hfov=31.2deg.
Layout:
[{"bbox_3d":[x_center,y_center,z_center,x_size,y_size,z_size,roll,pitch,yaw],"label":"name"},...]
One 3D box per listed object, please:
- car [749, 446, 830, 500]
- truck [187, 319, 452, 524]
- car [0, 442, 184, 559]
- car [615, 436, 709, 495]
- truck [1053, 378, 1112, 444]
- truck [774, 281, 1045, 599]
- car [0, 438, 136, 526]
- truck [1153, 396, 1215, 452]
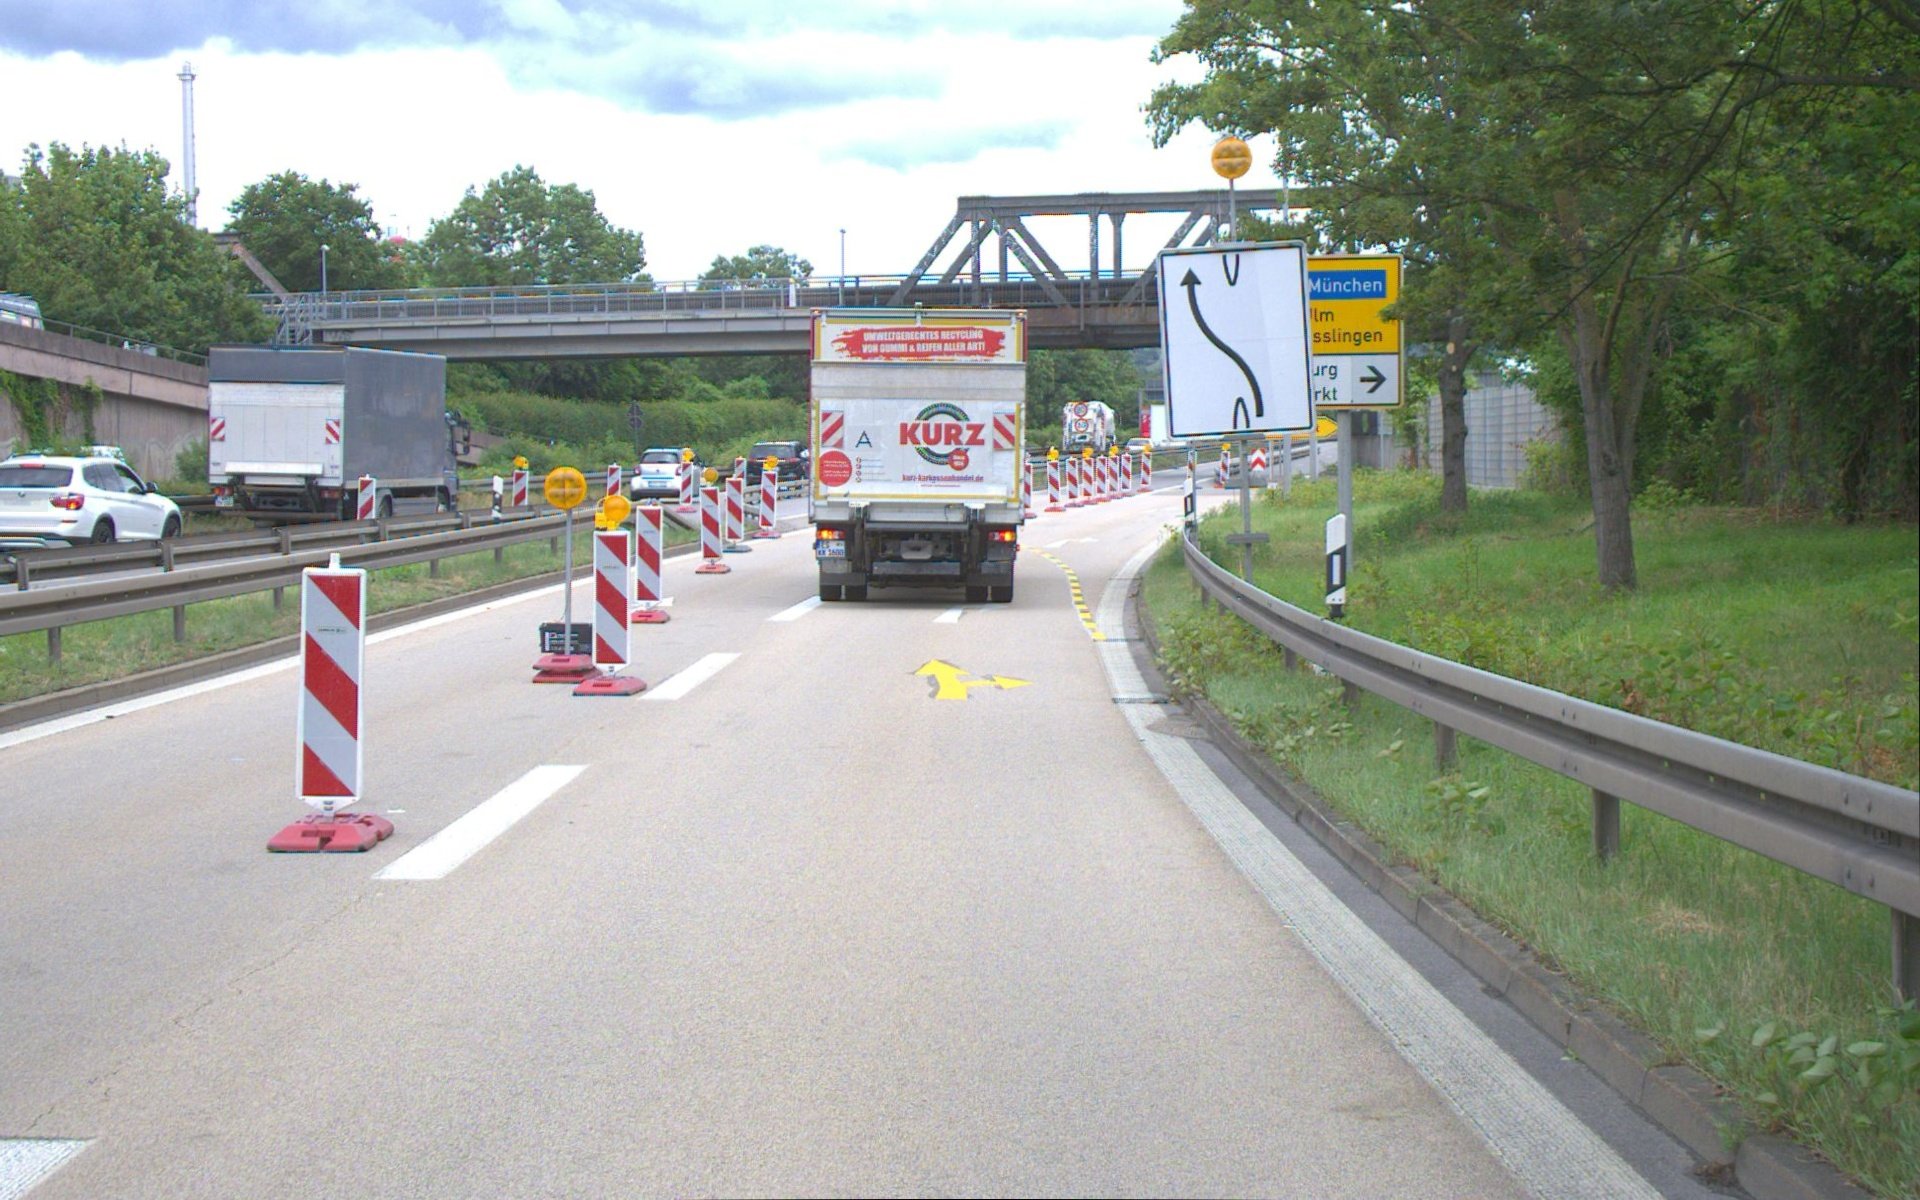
[{"bbox_3d":[-5.167,-3.878,104.848,1.994,1.612,4.000,0,2,4],"label":"car"},{"bbox_3d":[-11.964,-3.313,64.967,3.051,3.643,7.395,0,2,5],"label":"truck"},{"bbox_3d":[-13.528,-1.532,52.283,1.994,1.706,4.100,0,2,9],"label":"car"},{"bbox_3d":[-8.268,-3.732,95.587,1.994,1.612,4.000,0,2,4],"label":"car"},{"bbox_3d":[7.465,-11.454,209.190,3.287,3.839,7.664,0,2,4],"label":"truck"},{"bbox_3d":[-0.486,-1.992,43.681,3.051,3.660,7.928,0,2,2],"label":"truck"},{"bbox_3d":[-20.987,-2.766,80.365,1.994,2.006,4.709,0,2,4],"label":"car"},{"bbox_3d":[14.655,-11.514,225.179,3.908,3.536,8.141,0,2,3],"label":"truck"}]
